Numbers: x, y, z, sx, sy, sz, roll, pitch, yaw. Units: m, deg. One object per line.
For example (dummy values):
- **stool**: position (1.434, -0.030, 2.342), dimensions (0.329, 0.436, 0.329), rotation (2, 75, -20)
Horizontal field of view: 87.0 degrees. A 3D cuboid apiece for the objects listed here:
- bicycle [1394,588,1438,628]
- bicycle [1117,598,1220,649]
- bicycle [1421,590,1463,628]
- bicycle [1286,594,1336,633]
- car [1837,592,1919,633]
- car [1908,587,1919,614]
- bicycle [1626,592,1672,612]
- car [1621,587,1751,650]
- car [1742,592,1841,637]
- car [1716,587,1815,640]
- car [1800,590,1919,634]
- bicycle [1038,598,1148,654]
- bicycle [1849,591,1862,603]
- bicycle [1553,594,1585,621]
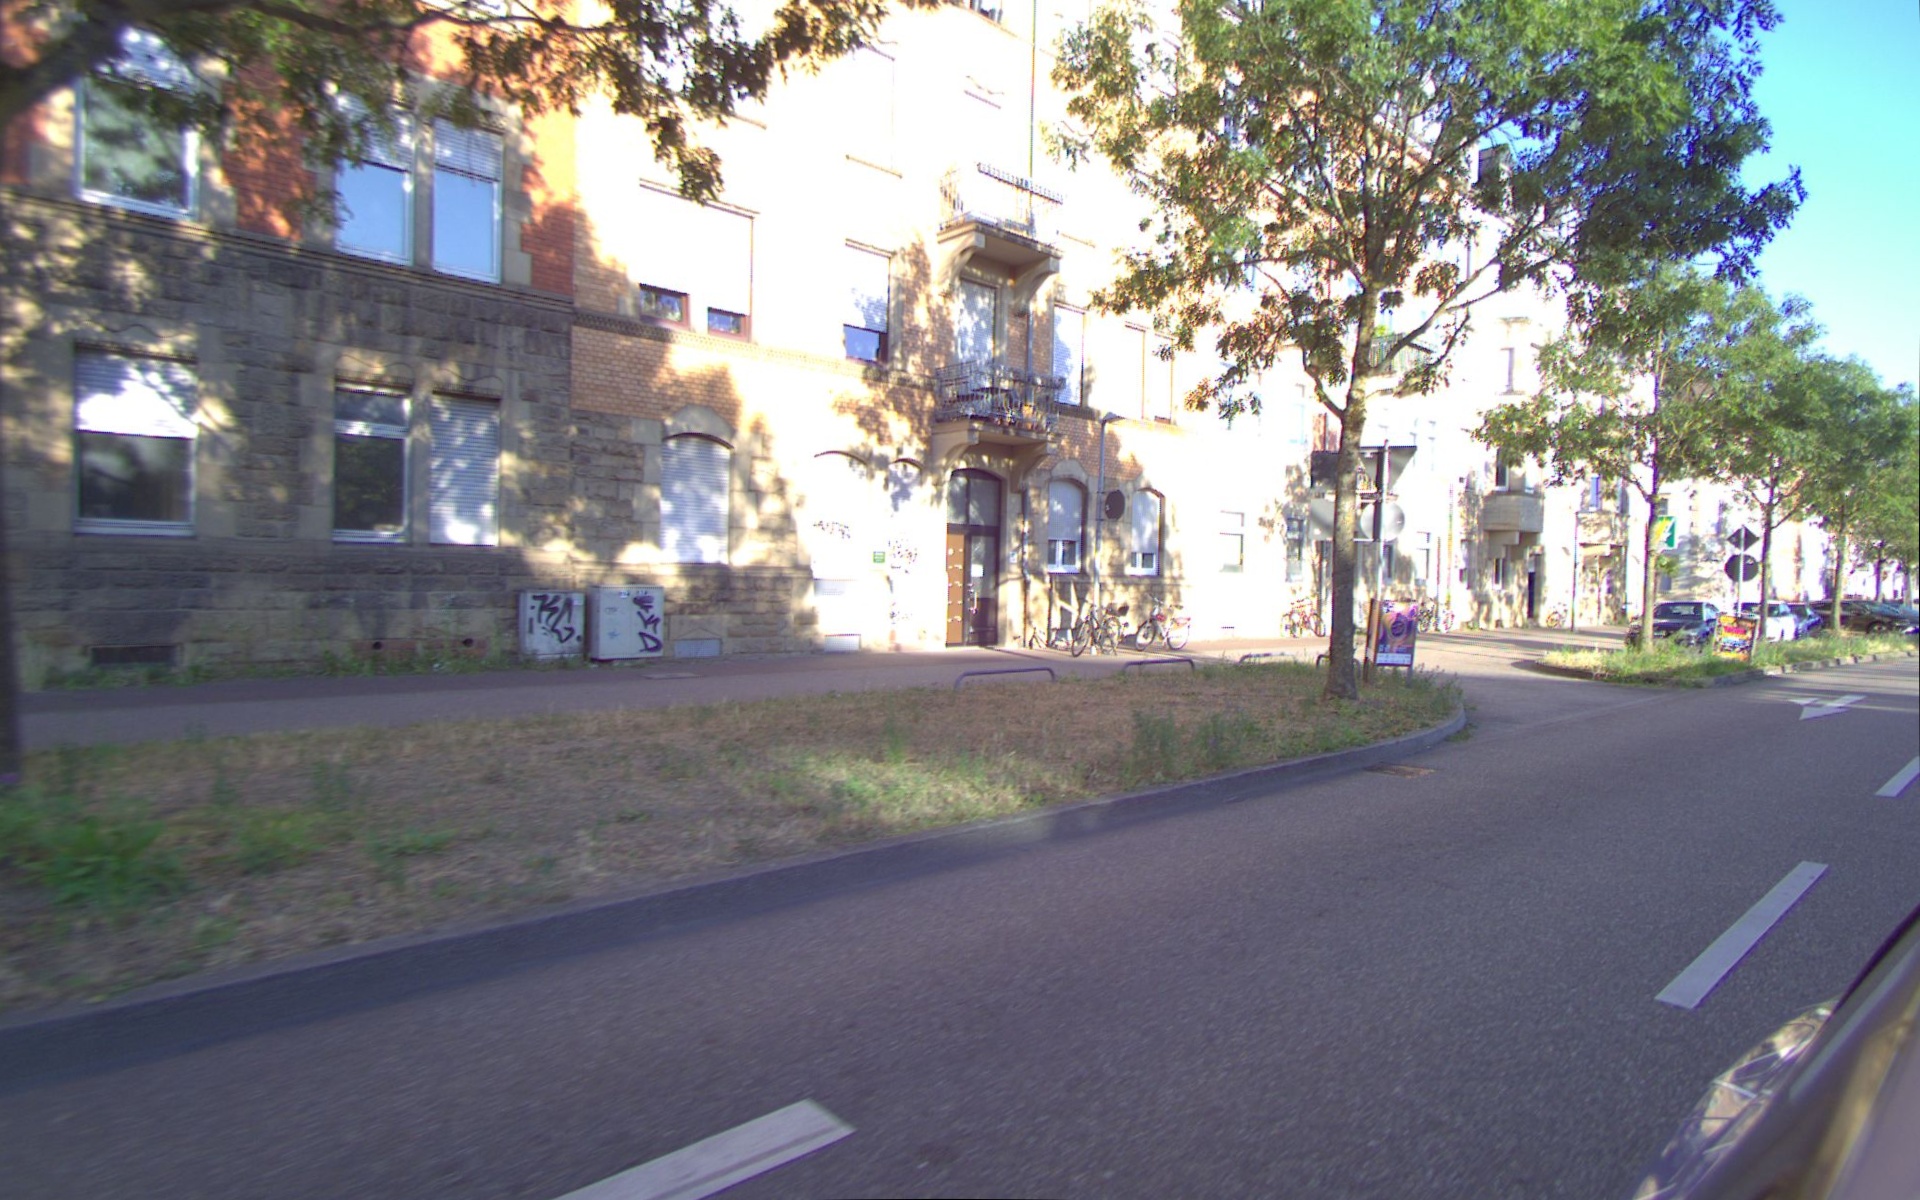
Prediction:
- **bicycle**: position (14.305, 0.249, 31.699), dimensions (1.716, 1.178, 0.484), rotation (0, 6, -41)
- **bicycle**: position (4.289, 0.453, 20.684), dimensions (2.297, 0.960, 0.736), rotation (0, 3, -38)
- **bicycle**: position (15.704, 0.287, 32.940), dimensions (1.716, 1.178, 0.484), rotation (0, 6, -41)
- **bicycle**: position (9.487, 0.352, 27.324), dimensions (1.716, 1.018, 0.484), rotation (0, 1, -41)
- **car**: position (37.761, 0.490, 40.168), dimensions (1.809, 1.541, 4.295), rotation (1, 1, -9)
- **car**: position (62.843, 0.078, 63.696), dimensions (1.877, 1.712, 4.439), rotation (1, 1, -6)
- **bicycle**: position (41.753, 0.092, 61.358), dimensions (0.530, 1.119, 2.206), rotation (0, 2, -44)
- **car**: position (18.326, 0.433, 25.488), dimensions (4.213, 1.467, 1.706), rotation (0, -1, -41)
- **car**: position (29.183, 0.488, 35.463), dimensions (4.824, 1.463, 1.947), rotation (0, -1, -42)
- **car**: position (25.264, 0.411, 31.682), dimensions (4.199, 1.531, 1.728), rotation (0, -1, -42)
- **car**: position (35.496, 0.448, 39.174), dimensions (1.960, 1.591, 4.347), rotation (1, 0, -9)
- **bicycle**: position (2.501, 0.459, 18.909), dimensions (2.047, 0.927, 0.874), rotation (0, 3, -40)
- **bicycle**: position (81.819, -0.256, 92.431), dimensions (2.190, 1.092, 0.589), rotation (0, 3, -42)
- **bicycle**: position (24.815, 0.296, 41.211), dimensions (1.864, 1.086, 0.573), rotation (0, 2, -42)
